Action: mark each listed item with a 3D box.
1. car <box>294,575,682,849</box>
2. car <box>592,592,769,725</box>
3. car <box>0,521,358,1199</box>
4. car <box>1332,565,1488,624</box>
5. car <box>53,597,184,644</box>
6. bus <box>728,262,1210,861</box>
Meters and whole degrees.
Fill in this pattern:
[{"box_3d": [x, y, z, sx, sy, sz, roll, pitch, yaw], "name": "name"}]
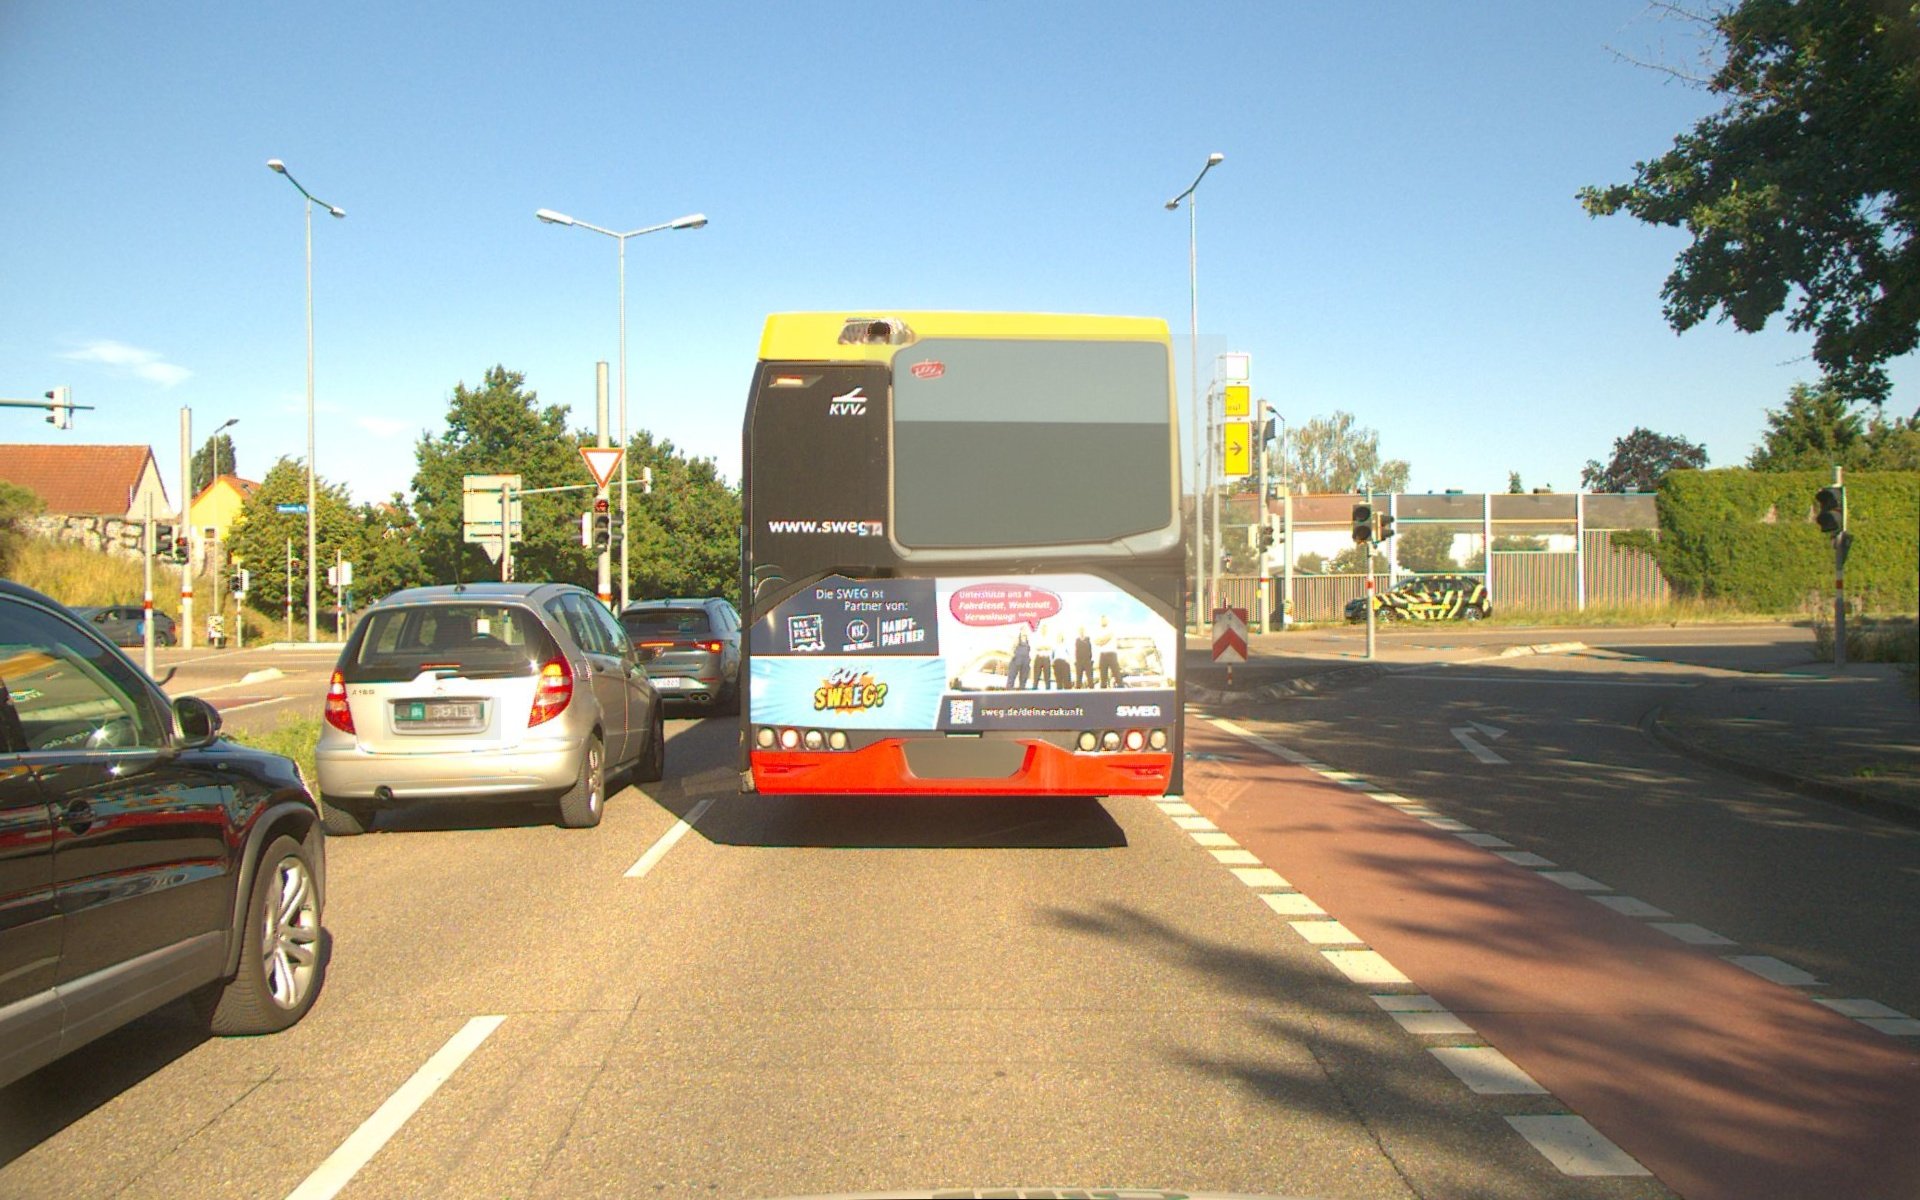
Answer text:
[{"box_3d": [-3.223, 0.677, 12.125, 1.725, 1.617, 3.999, -2, 0, -1], "name": "car"}, {"box_3d": [-3.455, 0.671, 21.054, 1.658, 1.484, 3.750, -2, 0, -1], "name": "car"}, {"box_3d": [-3.150, 0.682, 4.299, 1.736, 1.682, 3.999, -2, 0, -1], "name": "car"}, {"box_3d": [13.081, -0.167, 48.154, 3.988, 1.552, 1.766, -2, 0, -5], "name": "car"}, {"box_3d": [-27.865, 0.652, 54.846, 1.546, 1.484, 3.579, -1, 0, 37], "name": "car"}, {"box_3d": [0.015, -0.257, 14.888, 2.589, 3.222, 11.860, 0, 0, 0], "name": "bus"}]
